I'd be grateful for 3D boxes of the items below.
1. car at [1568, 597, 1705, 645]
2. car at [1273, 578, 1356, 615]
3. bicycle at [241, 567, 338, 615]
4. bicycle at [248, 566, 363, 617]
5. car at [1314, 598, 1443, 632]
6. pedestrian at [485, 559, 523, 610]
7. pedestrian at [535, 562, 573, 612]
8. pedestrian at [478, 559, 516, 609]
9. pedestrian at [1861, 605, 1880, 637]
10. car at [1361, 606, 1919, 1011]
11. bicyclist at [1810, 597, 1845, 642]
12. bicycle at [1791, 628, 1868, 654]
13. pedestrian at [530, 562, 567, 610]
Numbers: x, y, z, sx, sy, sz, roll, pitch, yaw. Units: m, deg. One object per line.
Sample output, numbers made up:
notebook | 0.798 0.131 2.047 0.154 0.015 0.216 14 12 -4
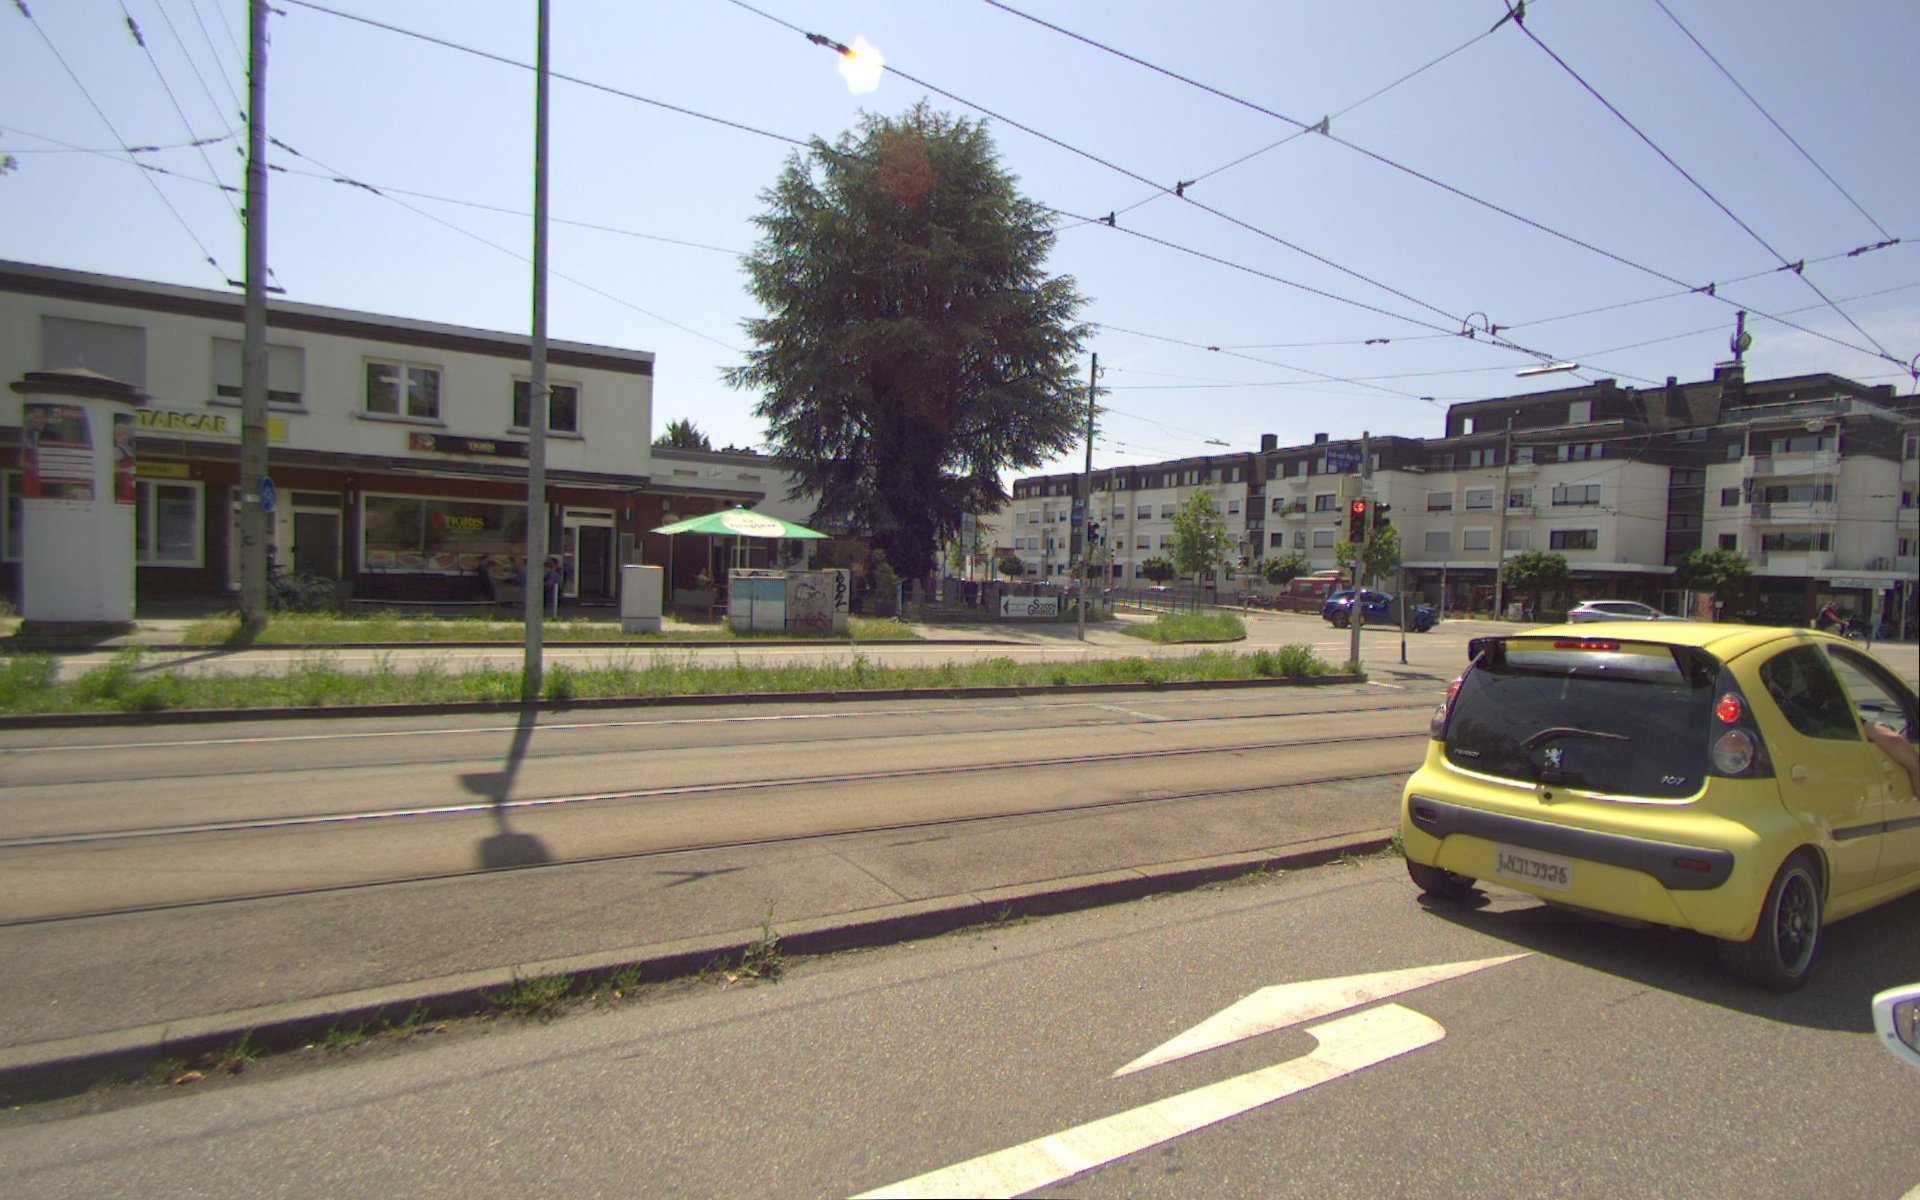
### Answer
car | 25.241 0.766 37.669 4.079 1.605 1.935 2 0 31
car | 24.079 -0.244 68.441 2.219 2.372 5.038 2 0 -31
bicycle | -14.967 -0.197 22.479 1.738 0.992 0.536 2 0 -31
bicycle | -13.953 -0.169 21.488 2.006 0.992 0.607 2 0 -31
car | 17.681 0.612 42.553 4.709 1.253 1.932 2 0 38
pedestrian | -11.856 -0.395 26.119 0.832 1.285 0.586 2 0 -30
pedestrian | -10.863 -0.346 26.881 0.832 1.285 0.586 2 0 -30
pedestrian | -12.346 -0.413 26.782 0.832 1.285 0.586 2 0 -30
pedestrian | 50.597 1.159 55.832 0.598 1.777 0.506 2 0 16
car | 3.881 0.780 5.240 3.254 1.464 1.715 1 0 -31
bicyclist | 29.910 0.683 34.633 0.737 1.521 0.482 2 0 21
bicycle | 30.003 1.416 34.694 1.948 0.793 0.466 2 0 21
pedestrian | -11.258 -0.379 27.453 0.832 1.285 0.586 2 0 -30
